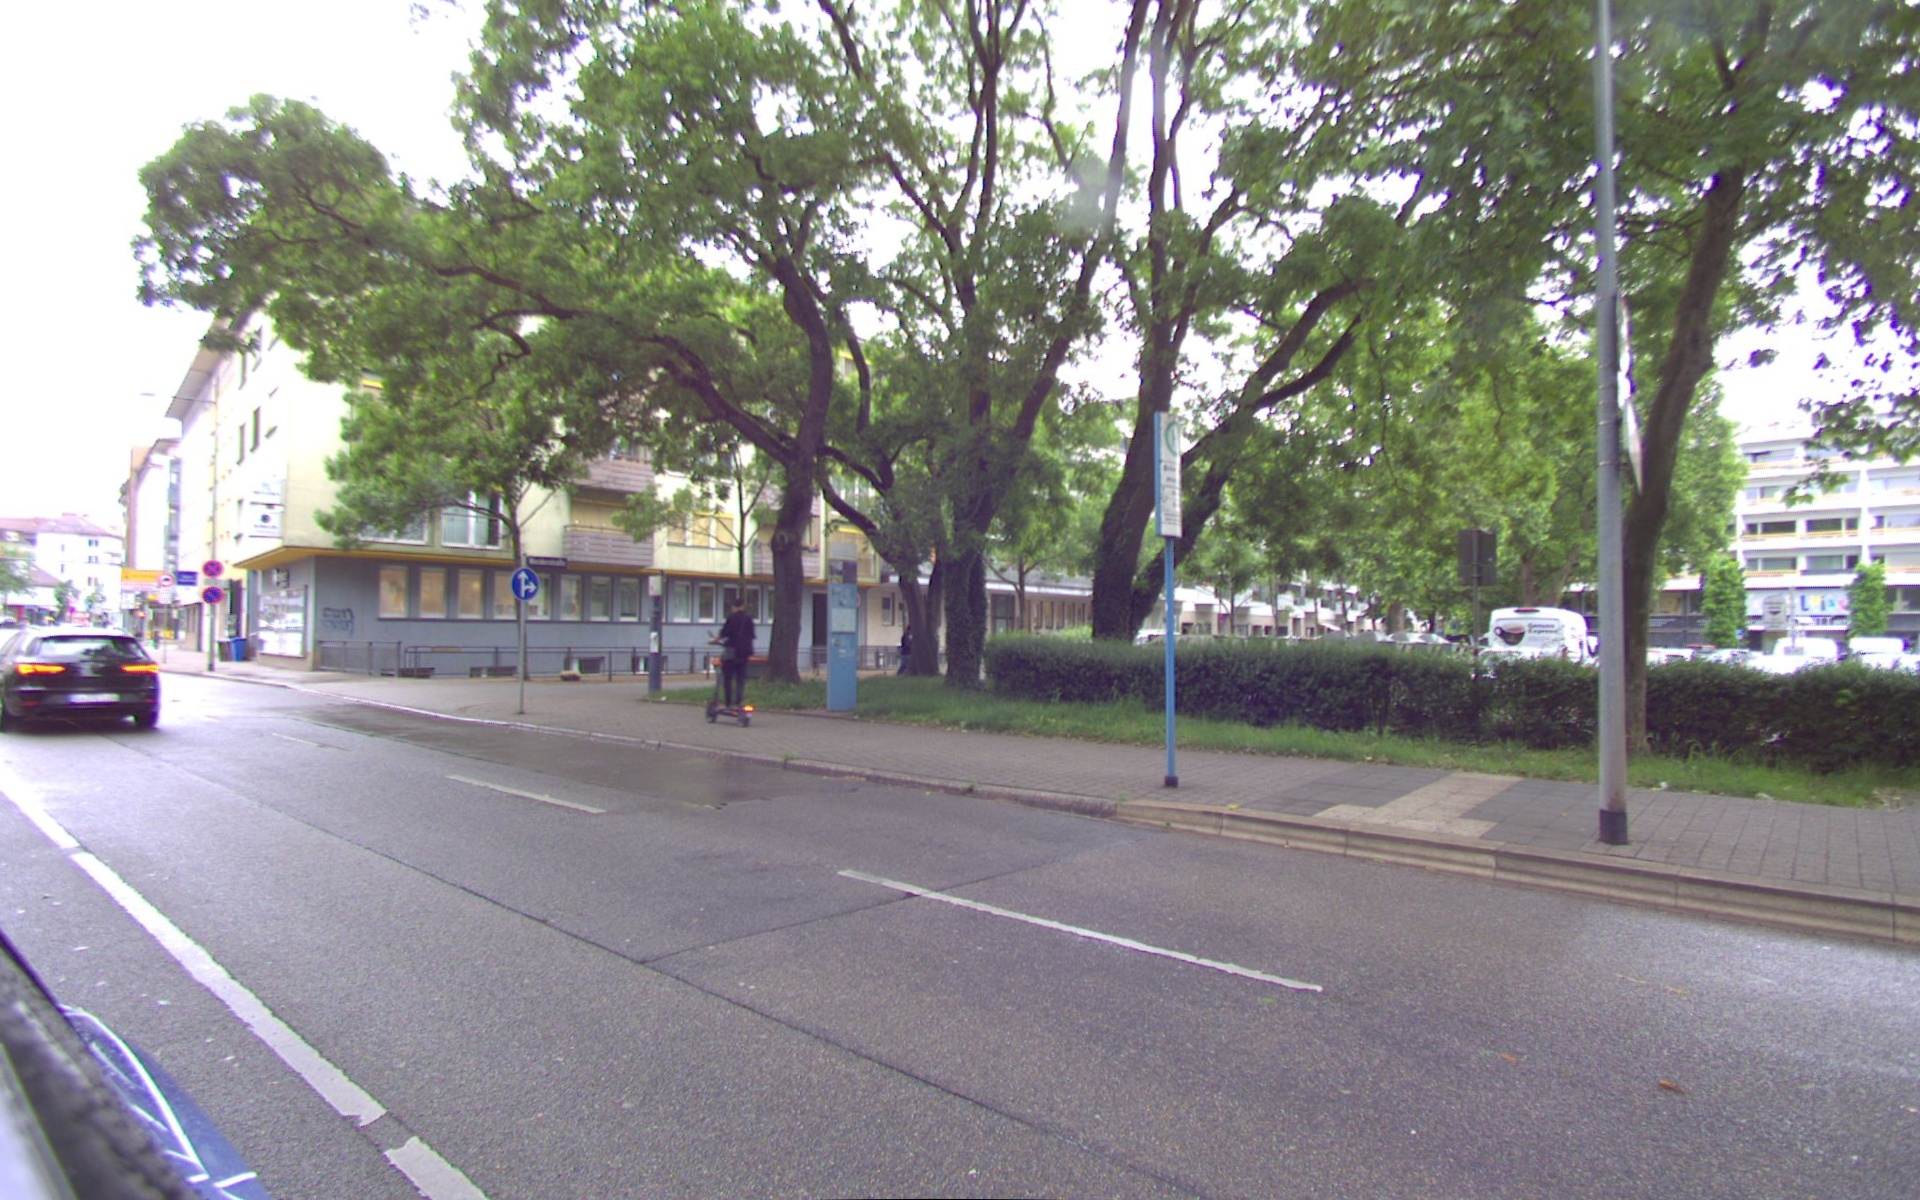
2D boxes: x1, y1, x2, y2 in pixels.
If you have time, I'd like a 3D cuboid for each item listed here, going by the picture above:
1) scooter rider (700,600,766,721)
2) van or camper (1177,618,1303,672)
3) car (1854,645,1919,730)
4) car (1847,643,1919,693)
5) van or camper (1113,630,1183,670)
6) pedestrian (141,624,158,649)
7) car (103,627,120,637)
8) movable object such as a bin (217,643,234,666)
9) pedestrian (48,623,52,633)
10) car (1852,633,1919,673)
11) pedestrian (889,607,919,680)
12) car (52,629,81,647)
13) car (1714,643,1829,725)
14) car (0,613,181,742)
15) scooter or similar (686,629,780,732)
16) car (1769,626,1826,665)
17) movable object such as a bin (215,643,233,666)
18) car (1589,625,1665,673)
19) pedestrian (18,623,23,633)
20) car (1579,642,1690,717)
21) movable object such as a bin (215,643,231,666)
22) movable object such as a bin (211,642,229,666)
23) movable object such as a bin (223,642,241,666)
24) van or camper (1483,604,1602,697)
[{"bbox_3d":[-3.449,0.905,15.372,0.723,1.779,0.646,2,-1,-39],"label":"scooter rider"},{"bbox_3d":[13.864,2.178,49.603,2.561,2.420,8.535,-2,-3,41],"label":"van or camper"},{"bbox_3d":[20.493,1.815,21.612,1.895,1.497,3.948,-1,0,39],"label":"car"},{"bbox_3d":[33.345,2.411,36.465,1.895,1.497,3.948,-1,0,39],"label":"car"},{"bbox_3d":[10.380,2.746,55.609,1.825,2.029,4.576,1,-2,38],"label":"van or camper"},{"bbox_3d":[-53.843,2.413,67.239,0.773,1.600,0.675,-1,-1,-29],"label":"pedestrian"},{"bbox_3d":[-127.160,4.800,151.691,1.567,1.539,3.496,2,-3,-36],"label":"car"},{"bbox_3d":[-30.492,2.270,42.008,0.522,0.902,0.435,-3,1,-42],"label":"movable object such as a bin"},{"bbox_3d":[-118.407,3.648,131.672,0.380,1.301,0.394,-2,-3,41],"label":"pedestrian"},{"bbox_3d":[40.312,2.277,44.162,1.895,1.497,3.948,-1,0,39],"label":"car"},{"bbox_3d":[-1.569,1.211,28.453,0.771,2.029,0.752,0,-2,0],"label":"pedestrian"},{"bbox_3d":[-82.239,3.526,93.144,1.807,1.634,4.007,2,-3,-39],"label":"car"},{"bbox_3d":[18.596,1.846,23.221,1.895,1.497,3.948,-1,0,39],"label":"car"},{"bbox_3d":[-13.139,1.064,14.930,4.136,1.638,1.826,-2,-4,42],"label":"car"},{"bbox_3d":[-3.454,1.180,15.347,0.804,1.457,1.400,2,-2,-41],"label":"scooter or similar"},{"bbox_3d":[41.882,2.239,50.683,2.097,1.735,3.948,-1,0,39],"label":"car"},{"bbox_3d":[-30.844,2.270,42.398,0.521,0.935,0.426,-3,1,-42],"label":"movable object such as a bin"},{"bbox_3d":[24.043,1.729,36.445,1.895,1.497,3.948,-1,0,39],"label":"car"},{"bbox_3d":[-121.885,3.585,131.325,0.394,1.301,0.381,2,-3,-40],"label":"pedestrian"},{"bbox_3d":[16.717,1.876,25.005,1.895,1.497,3.948,-1,0,39],"label":"car"},{"bbox_3d":[-31.229,2.311,42.867,0.458,0.935,0.429,-3,1,-42],"label":"movable object such as a bin"},{"bbox_3d":[-31.715,2.315,43.373,0.510,1.008,0.524,-3,1,-42],"label":"movable object such as a bin"},{"bbox_3d":[-30.042,2.219,41.742,0.522,0.968,0.435,-3,1,-42],"label":"movable object such as a bin"},{"bbox_3d":[16.874,1.430,29.226,2.099,2.450,4.280,-2,-3,42],"label":"van or camper"}]
